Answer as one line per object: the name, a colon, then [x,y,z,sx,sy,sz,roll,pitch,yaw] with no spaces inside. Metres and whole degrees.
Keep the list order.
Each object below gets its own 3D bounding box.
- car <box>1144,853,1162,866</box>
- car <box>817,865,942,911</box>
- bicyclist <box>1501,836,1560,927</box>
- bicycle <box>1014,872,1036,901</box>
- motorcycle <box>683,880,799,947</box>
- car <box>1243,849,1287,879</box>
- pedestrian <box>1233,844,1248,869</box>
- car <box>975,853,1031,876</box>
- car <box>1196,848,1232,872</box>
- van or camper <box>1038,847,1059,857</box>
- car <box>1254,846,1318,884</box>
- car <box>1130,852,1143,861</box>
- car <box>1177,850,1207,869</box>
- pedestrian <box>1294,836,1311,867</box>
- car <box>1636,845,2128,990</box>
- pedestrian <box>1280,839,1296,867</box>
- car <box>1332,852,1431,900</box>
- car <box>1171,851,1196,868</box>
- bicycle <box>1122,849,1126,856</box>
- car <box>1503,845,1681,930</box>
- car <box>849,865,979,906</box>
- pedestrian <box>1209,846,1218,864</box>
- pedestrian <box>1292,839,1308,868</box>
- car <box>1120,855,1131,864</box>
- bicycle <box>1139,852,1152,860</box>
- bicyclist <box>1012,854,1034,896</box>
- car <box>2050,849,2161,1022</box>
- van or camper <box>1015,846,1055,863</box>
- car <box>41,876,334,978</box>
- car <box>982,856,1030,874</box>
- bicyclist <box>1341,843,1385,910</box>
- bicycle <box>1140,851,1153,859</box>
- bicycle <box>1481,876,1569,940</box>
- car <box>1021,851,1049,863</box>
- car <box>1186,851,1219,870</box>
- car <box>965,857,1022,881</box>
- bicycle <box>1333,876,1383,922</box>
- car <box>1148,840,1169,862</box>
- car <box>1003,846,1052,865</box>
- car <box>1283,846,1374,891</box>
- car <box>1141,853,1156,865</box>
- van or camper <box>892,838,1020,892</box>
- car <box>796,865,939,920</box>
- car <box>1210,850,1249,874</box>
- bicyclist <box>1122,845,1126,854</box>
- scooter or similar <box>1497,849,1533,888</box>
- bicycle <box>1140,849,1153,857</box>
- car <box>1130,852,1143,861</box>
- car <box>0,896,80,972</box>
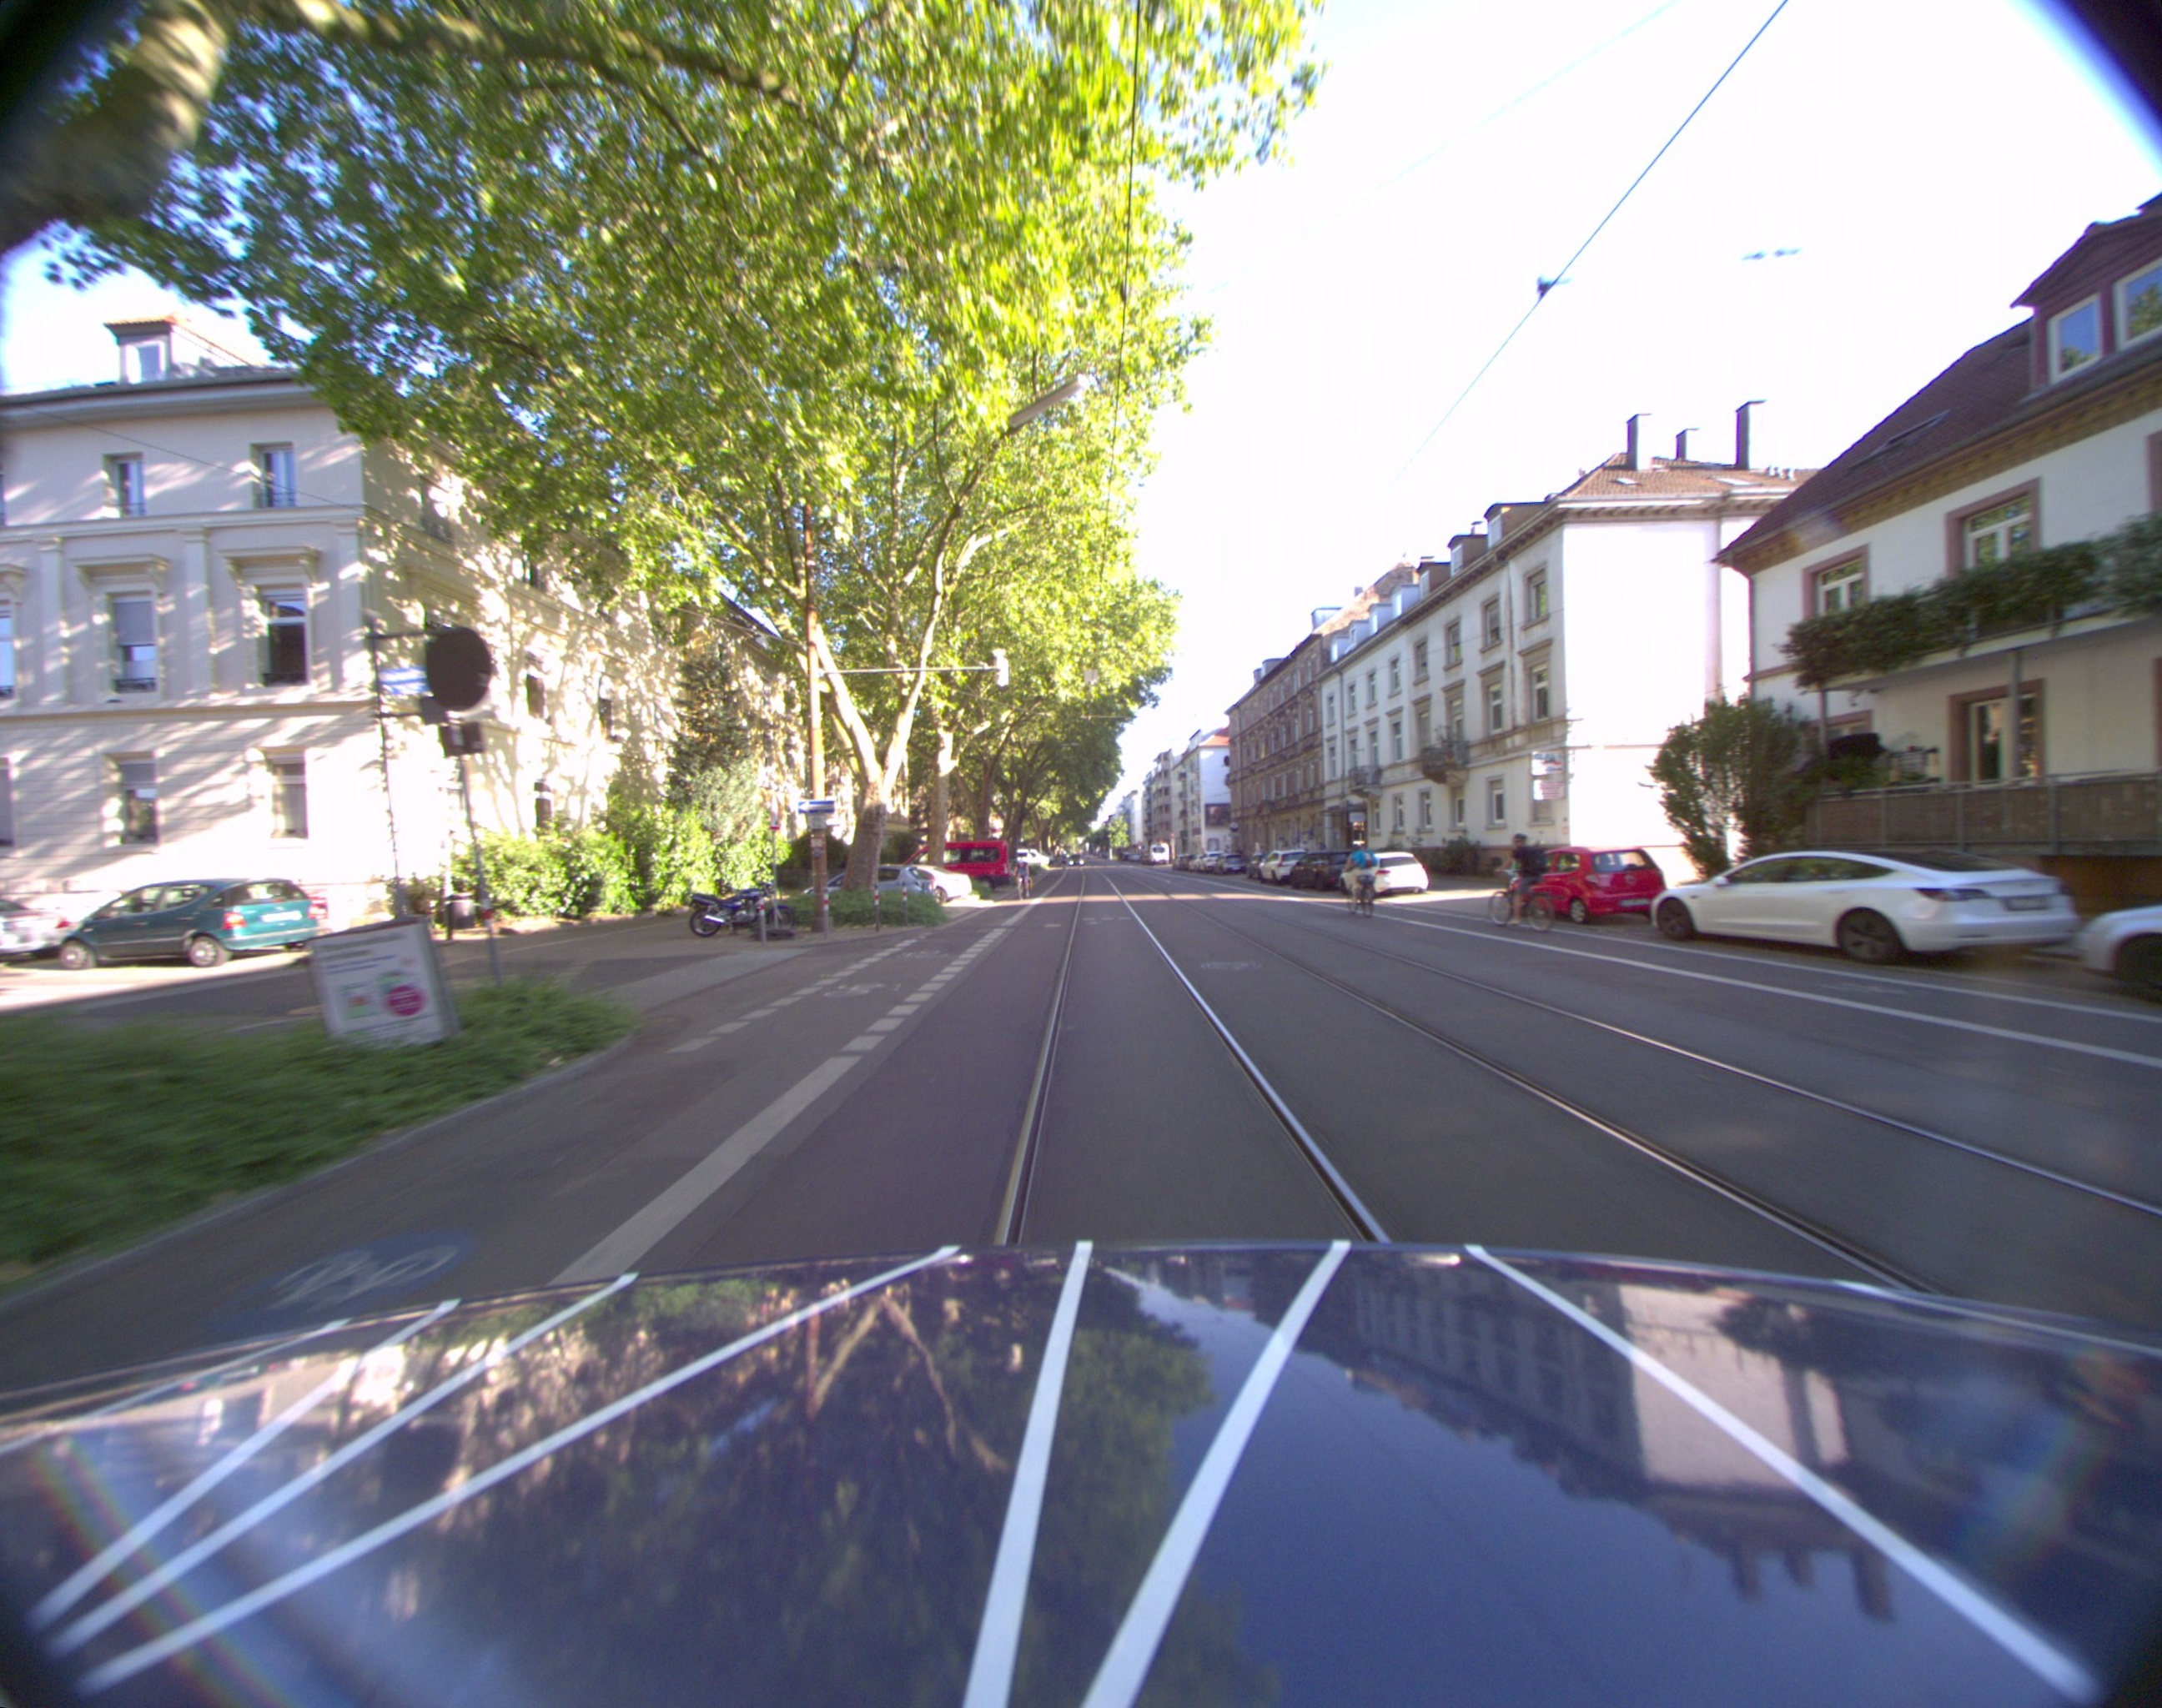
car: [9.387,0.669,99.067,1.723,1.622,4.345,-2,1,-2]
car: [-6.577,1.097,25.150,3.762,1.379,1.680,0,1,-6]
bicyclist: [8.260,0.490,13.985,0.536,1.625,0.896,0,1,2]
bicycle: [-2.184,1.249,29.849,0.596,0.998,2.511,-5,0,0]
motorcycle: [-7.232,1.235,16.219,2.174,1.221,0.474,-3,1,-27]
car: [10.104,0.513,41.951,1.557,1.506,3.924,-1,0,2]
pedestrian: [11.719,0.159,55.908,0.686,1.790,1.056,-3,1,-9]
car: [-6.136,0.821,60.212,4.274,1.709,1.848,1,0,-3]
car: [10.019,0.413,57.518,1.791,1.713,4.717,-3,1,0]
van or camper: [-6.939,-0.479,162.025,4.389,2.098,1.837,-1,1,-4]
car: [9.945,0.512,37.158,1.861,1.693,4.762,-1,0,1]
car: [9.754,0.404,134.387,1.798,1.482,4.239,-2,0,-2]
car: [9.872,0.462,67.849,1.745,1.553,4.785,-3,1,-1]
pedestrian: [14.436,-0.168,49.589,0.761,2.002,0.830,-2,1,-2]
car: [10.504,0.686,10.670,1.832,1.494,4.687,-3,0,-2]
pedestrian: [13.481,-0.079,49.532,0.761,1.810,0.829,-2,1,-3]
car: [10.348,0.701,26.491,1.691,1.468,4.257,-3,0,0]
car: [9.808,0.500,73.068,1.745,1.483,4.044,-3,1,-1]
bicycle: [7.328,-0.214,129.925,0.422,1.144,2.231,-1,1,-1]
car: [10.549,0.626,15.995,1.573,1.553,3.449,-2,0,4]
car: [-5.994,1.111,27.600,4.296,1.409,1.760,0,0,1]
pedestrian: [12.808,0.116,73.254,0.658,1.738,0.894,-3,-1,3]
pedestrian: [13.175,-0.026,45.623,0.663,1.656,0.770,-2,1,31]
car: [8.509,1.073,144.970,1.660,1.591,4.201,-3,1,-2]
bicycle: [9.978,0.241,116.705,1.935,1.112,0.440,-3,1,6]
bicyclist: [-2.247,0.795,29.658,0.616,1.543,0.935,-6,1,0]
car: [10.591,0.720,5.331,1.832,1.494,4.449,-3,0,-1]
van or camper: [-6.944,0.072,115.302,6.048,2.476,2.107,-1,1,-1]
car: [-16.658,1.327,14.300,3.480,1.580,1.629,-1,4,2]
car: [-6.440,0.941,65.623,4.040,1.471,1.680,-1,1,-6]
bicyclist: [6.444,0.494,17.408,0.640,1.494,1.069,-1,1,1]
bicycle: [9.888,0.099,114.534,1.792,1.112,0.425,-3,1,6]
bicycle: [8.257,0.972,14.235,0.486,1.041,2.039,0,0,2]
car: [-6.652,0.416,109.325,3.966,1.646,1.795,-1,1,-3]
car: [10.003,0.536,62.663,1.704,1.412,3.998,-3,1,-4]
car: [-5.844,1.001,50.940,3.604,1.509,1.693,0,1,0]
bicycle: [6.397,1.016,17.616,0.500,0.937,1.921,0,0,2]
car: [9.570,-0.358,93.714,2.070,2.521,5.666,-2,1,1]
car: [-6.736,0.167,96.813,6.006,2.269,2.006,-2,0,1]
car: [10.173,0.553,31.634,1.862,1.693,4.657,-1,0,-5]
car: [9.332,0.695,105.042,1.722,1.448,4.572,-2,1,1]
van or camper: [-5.909,0.528,36.618,5.831,2.504,2.287,0,0,-2]
car: [-6.260,1.103,22.561,3.760,1.499,1.681,-1,1,0]
car: [10.120,0.495,51.930,1.667,1.512,4.063,-3,1,-2]
bicyclist: [7.296,-0.726,129.815,0.584,1.473,0.807,-1,1,-1]
scooter or similar: [14.448,0.463,25.327,0.447,1.272,1.576,-2,1,8]
bicycle: [9.736,-0.186,113.128,1.897,1.032,0.402,-3,1,6]
car: [9.417,0.364,129.153,1.694,1.482,4.727,-2,0,0]
car: [-21.971,1.590,14.494,3.664,1.318,1.630,-2,2,3]
